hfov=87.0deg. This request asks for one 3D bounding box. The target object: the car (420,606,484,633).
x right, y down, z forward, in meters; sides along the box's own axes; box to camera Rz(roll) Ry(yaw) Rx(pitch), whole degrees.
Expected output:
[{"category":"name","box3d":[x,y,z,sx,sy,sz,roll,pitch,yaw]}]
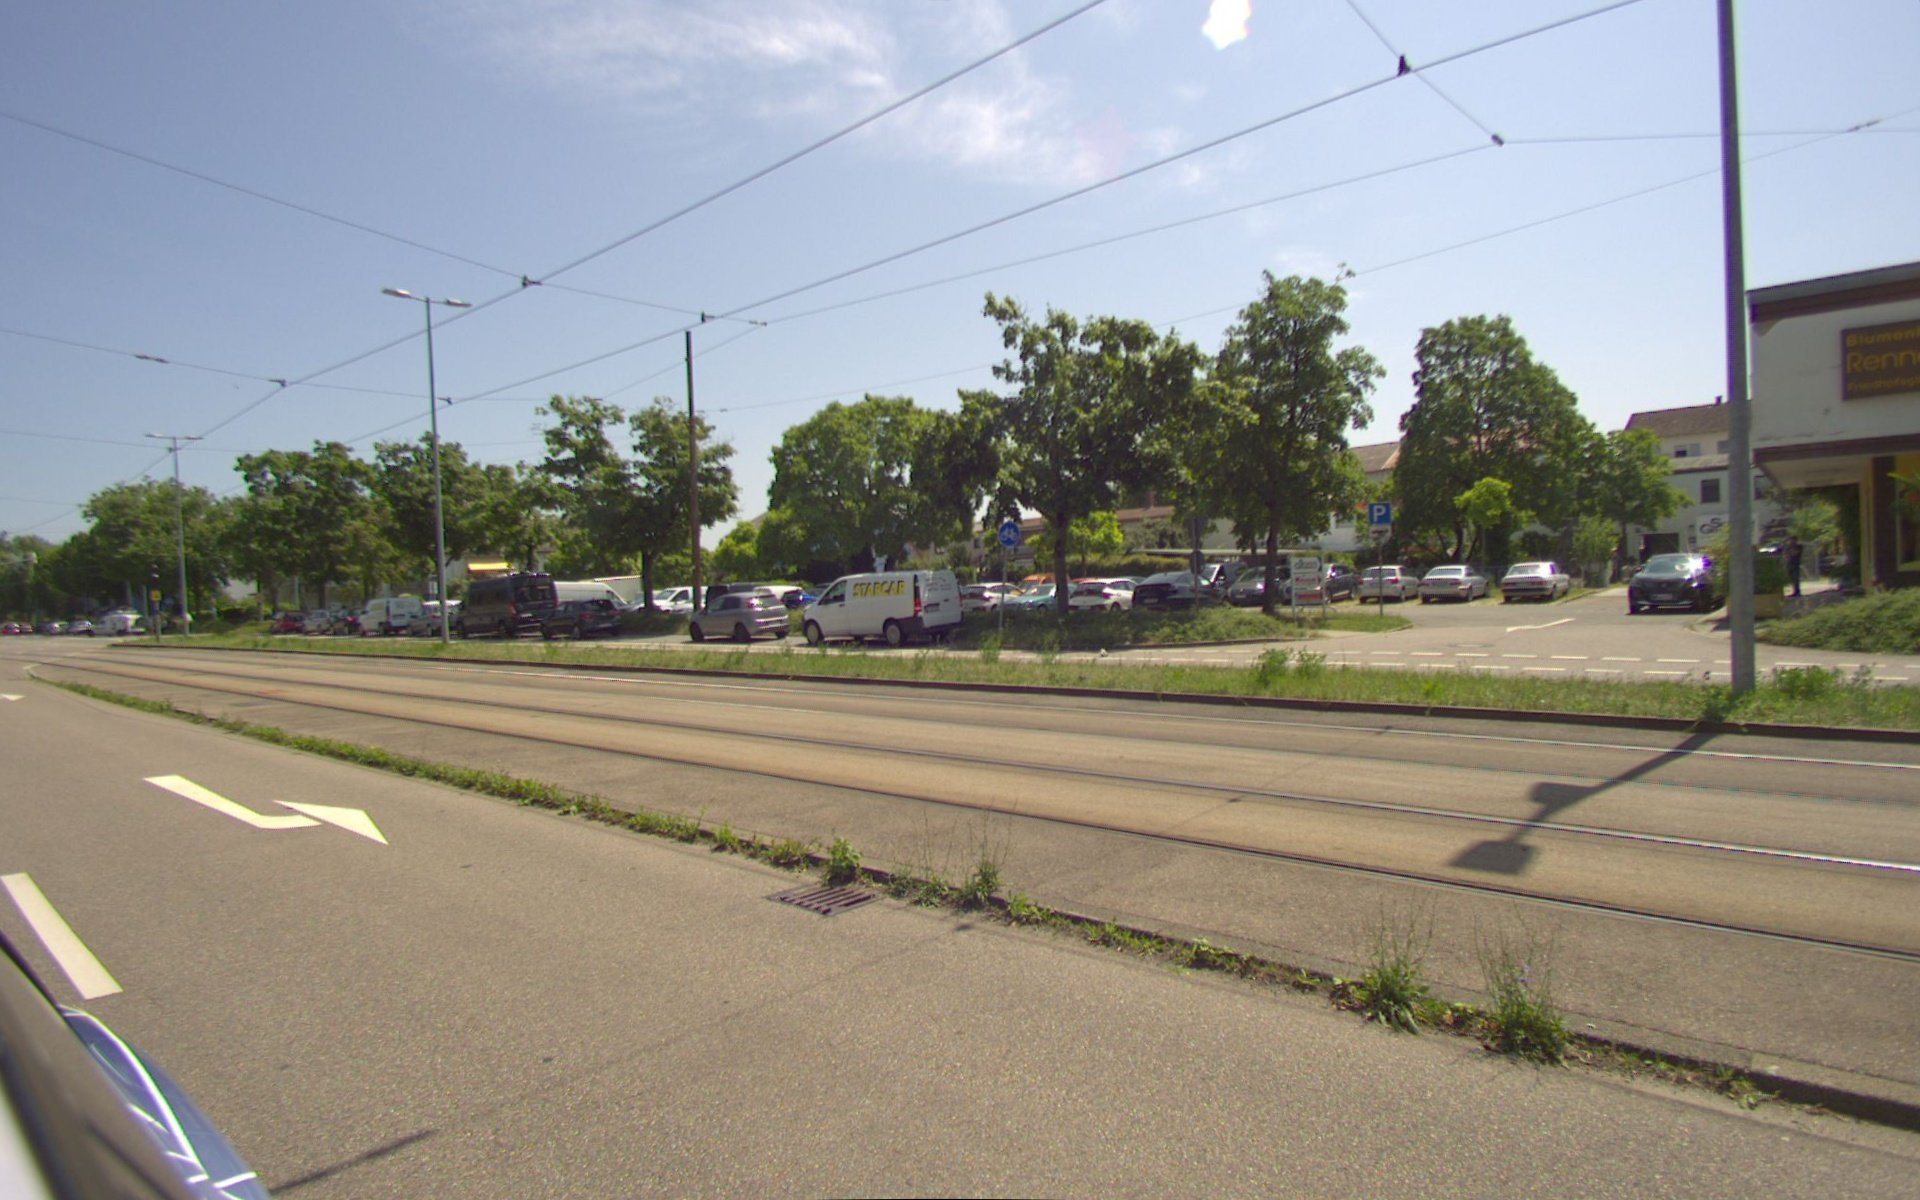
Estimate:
[{"category":"car","box3d":[-37.897,1.436,75.541,1.712,1.888,3.952,-1,0,35]}]

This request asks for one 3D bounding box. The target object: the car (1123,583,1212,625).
[{"category":"car","box3d":[6.851,0.110,33.186,1.639,1.241,3.385,-2,1,34]}]

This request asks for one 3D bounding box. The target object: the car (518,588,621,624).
[{"category":"car","box3d":[-23.000,0.335,59.755,2.029,1.970,5.362,-1,0,43]}]

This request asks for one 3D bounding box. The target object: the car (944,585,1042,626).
[{"category":"car","box3d":[1.316,0.188,38.569,1.856,1.501,4.098,-1,0,34]}]

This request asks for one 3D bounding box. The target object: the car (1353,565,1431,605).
[{"category":"car","box3d":[17.659,-0.605,41.295,1.661,1.531,3.943,-1,0,44]}]

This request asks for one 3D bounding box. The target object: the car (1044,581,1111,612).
[{"category":"car","box3d":[6.059,-0.173,51.896,1.713,1.505,3.952,-1,0,36]}]

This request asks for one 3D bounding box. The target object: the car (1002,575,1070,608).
[{"category":"car","box3d":[4.024,-0.456,53.038,1.689,1.665,4.081,-2,0,36]}]

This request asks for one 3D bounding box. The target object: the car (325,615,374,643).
[{"category":"car","box3d":[-33.510,1.571,55.511,3.262,1.489,1.410,-1,0,42]}]

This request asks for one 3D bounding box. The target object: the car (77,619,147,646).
[{"category":"car","box3d":[-66.953,2.527,79.944,4.158,2.005,1.820,-1,0,3]}]

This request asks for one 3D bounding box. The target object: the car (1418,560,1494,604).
[{"category":"car","box3d":[19.242,-0.689,39.157,1.520,1.591,3.943,-1,0,44]}]

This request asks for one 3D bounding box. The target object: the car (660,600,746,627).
[{"category":"car","box3d":[-12.789,0.670,50.569,1.732,1.152,3.950,-2,1,37]}]

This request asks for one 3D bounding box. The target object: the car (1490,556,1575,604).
[{"category":"car","box3d":[21.033,-0.718,37.124,1.804,1.669,3.943,-1,0,44]}]

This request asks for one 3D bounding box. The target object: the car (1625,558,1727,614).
[{"category":"car","box3d":[19.158,-0.391,27.016,1.682,1.306,3.944,-3,0,43]}]

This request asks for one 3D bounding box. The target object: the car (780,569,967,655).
[{"category":"car","box3d":[-2.457,0.330,27.600,5.343,2.025,1.856,-1,4,43]}]

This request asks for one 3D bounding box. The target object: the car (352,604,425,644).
[{"category":"car","box3d":[-29.326,1.197,51.895,4.817,1.963,1.899,-1,0,43]}]

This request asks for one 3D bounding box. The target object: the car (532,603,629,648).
[{"category":"car","box3d":[-14.423,0.947,38.423,3.751,1.589,1.950,-1,0,42]}]

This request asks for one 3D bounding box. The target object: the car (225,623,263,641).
[{"category":"car","box3d":[-50.518,2.252,71.404,3.424,1.167,1.560,-1,0,44]}]

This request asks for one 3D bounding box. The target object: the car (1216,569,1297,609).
[{"category":"car","box3d":[13.072,-0.474,44.484,1.804,1.669,3.943,-1,0,44]}]

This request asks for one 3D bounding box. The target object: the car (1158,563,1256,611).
[{"category":"car","box3d":[11.310,-0.575,46.154,2.225,2.085,5.054,-1,0,41]}]

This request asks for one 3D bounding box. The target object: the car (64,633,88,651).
[{"category":"car","box3d":[-99.598,4.754,114.000,3.984,1.867,1.681,-1,0,44]}]

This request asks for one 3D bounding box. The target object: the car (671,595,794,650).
[{"category":"car","box3d":[-7.199,0.694,31.872,4.125,1.513,1.632,-1,4,43]}]

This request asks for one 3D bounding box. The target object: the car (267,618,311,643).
[{"category":"car","box3d":[-41.807,1.888,63.070,3.424,1.491,1.560,-1,0,44]}]

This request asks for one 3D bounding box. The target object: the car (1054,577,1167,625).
[{"category":"car","box3d":[5.304,0.006,35.331,1.983,1.501,4.119,-2,1,40]}]

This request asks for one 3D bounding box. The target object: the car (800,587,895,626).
[{"category":"car","box3d":[-4.767,0.276,43.356,1.862,1.499,3.954,-2,1,34]}]

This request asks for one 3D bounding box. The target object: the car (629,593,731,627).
[{"category":"car","box3d":[-14.594,0.499,52.924,1.998,1.588,4.865,-2,1,39]}]

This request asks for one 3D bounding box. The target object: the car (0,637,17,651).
[{"category":"car","box3d":[-110.773,5.080,117.472,3.424,1.491,1.796,-1,0,44]}]

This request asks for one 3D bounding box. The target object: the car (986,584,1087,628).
[{"category":"car","box3d":[2.825,0.198,36.554,1.908,1.501,3.994,-1,0,34]}]

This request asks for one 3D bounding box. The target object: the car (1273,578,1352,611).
[{"category":"car","box3d":[14.773,-0.237,42.310,1.765,1.294,3.675,-1,0,43]}]

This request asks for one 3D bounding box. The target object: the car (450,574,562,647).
[{"category":"car","box3d":[-19.126,0.418,42.467,5.667,2.859,2.214,-1,0,43]}]

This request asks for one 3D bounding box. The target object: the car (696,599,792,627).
[{"category":"car","box3d":[-10.407,0.591,48.938,2.030,1.152,4.209,-2,1,37]}]

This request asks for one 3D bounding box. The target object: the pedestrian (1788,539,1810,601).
[{"category":"pedestrian","box3d":[24.961,-0.876,30.112,0.471,1.812,0.482,-1,0,41]}]

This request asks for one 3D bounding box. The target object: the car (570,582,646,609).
[{"category":"car","box3d":[-29.051,-0.386,83.632,2.146,2.078,5.673,-1,0,39]}]

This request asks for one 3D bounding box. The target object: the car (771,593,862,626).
[{"category":"car","box3d":[-6.418,0.410,45.667,1.795,1.417,3.949,-2,-1,37]}]

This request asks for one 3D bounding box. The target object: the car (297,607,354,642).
[{"category":"car","box3d":[-36.894,1.413,58.837,4.495,1.907,1.614,-1,0,42]}]

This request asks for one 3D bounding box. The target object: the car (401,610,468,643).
[{"category":"car","box3d":[-24.949,1.216,48.012,3.608,1.475,1.744,-1,0,43]}]

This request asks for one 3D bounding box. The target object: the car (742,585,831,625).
[{"category":"car","box3d":[-8.125,0.228,47.762,1.795,1.730,3.950,-2,1,37]}]
